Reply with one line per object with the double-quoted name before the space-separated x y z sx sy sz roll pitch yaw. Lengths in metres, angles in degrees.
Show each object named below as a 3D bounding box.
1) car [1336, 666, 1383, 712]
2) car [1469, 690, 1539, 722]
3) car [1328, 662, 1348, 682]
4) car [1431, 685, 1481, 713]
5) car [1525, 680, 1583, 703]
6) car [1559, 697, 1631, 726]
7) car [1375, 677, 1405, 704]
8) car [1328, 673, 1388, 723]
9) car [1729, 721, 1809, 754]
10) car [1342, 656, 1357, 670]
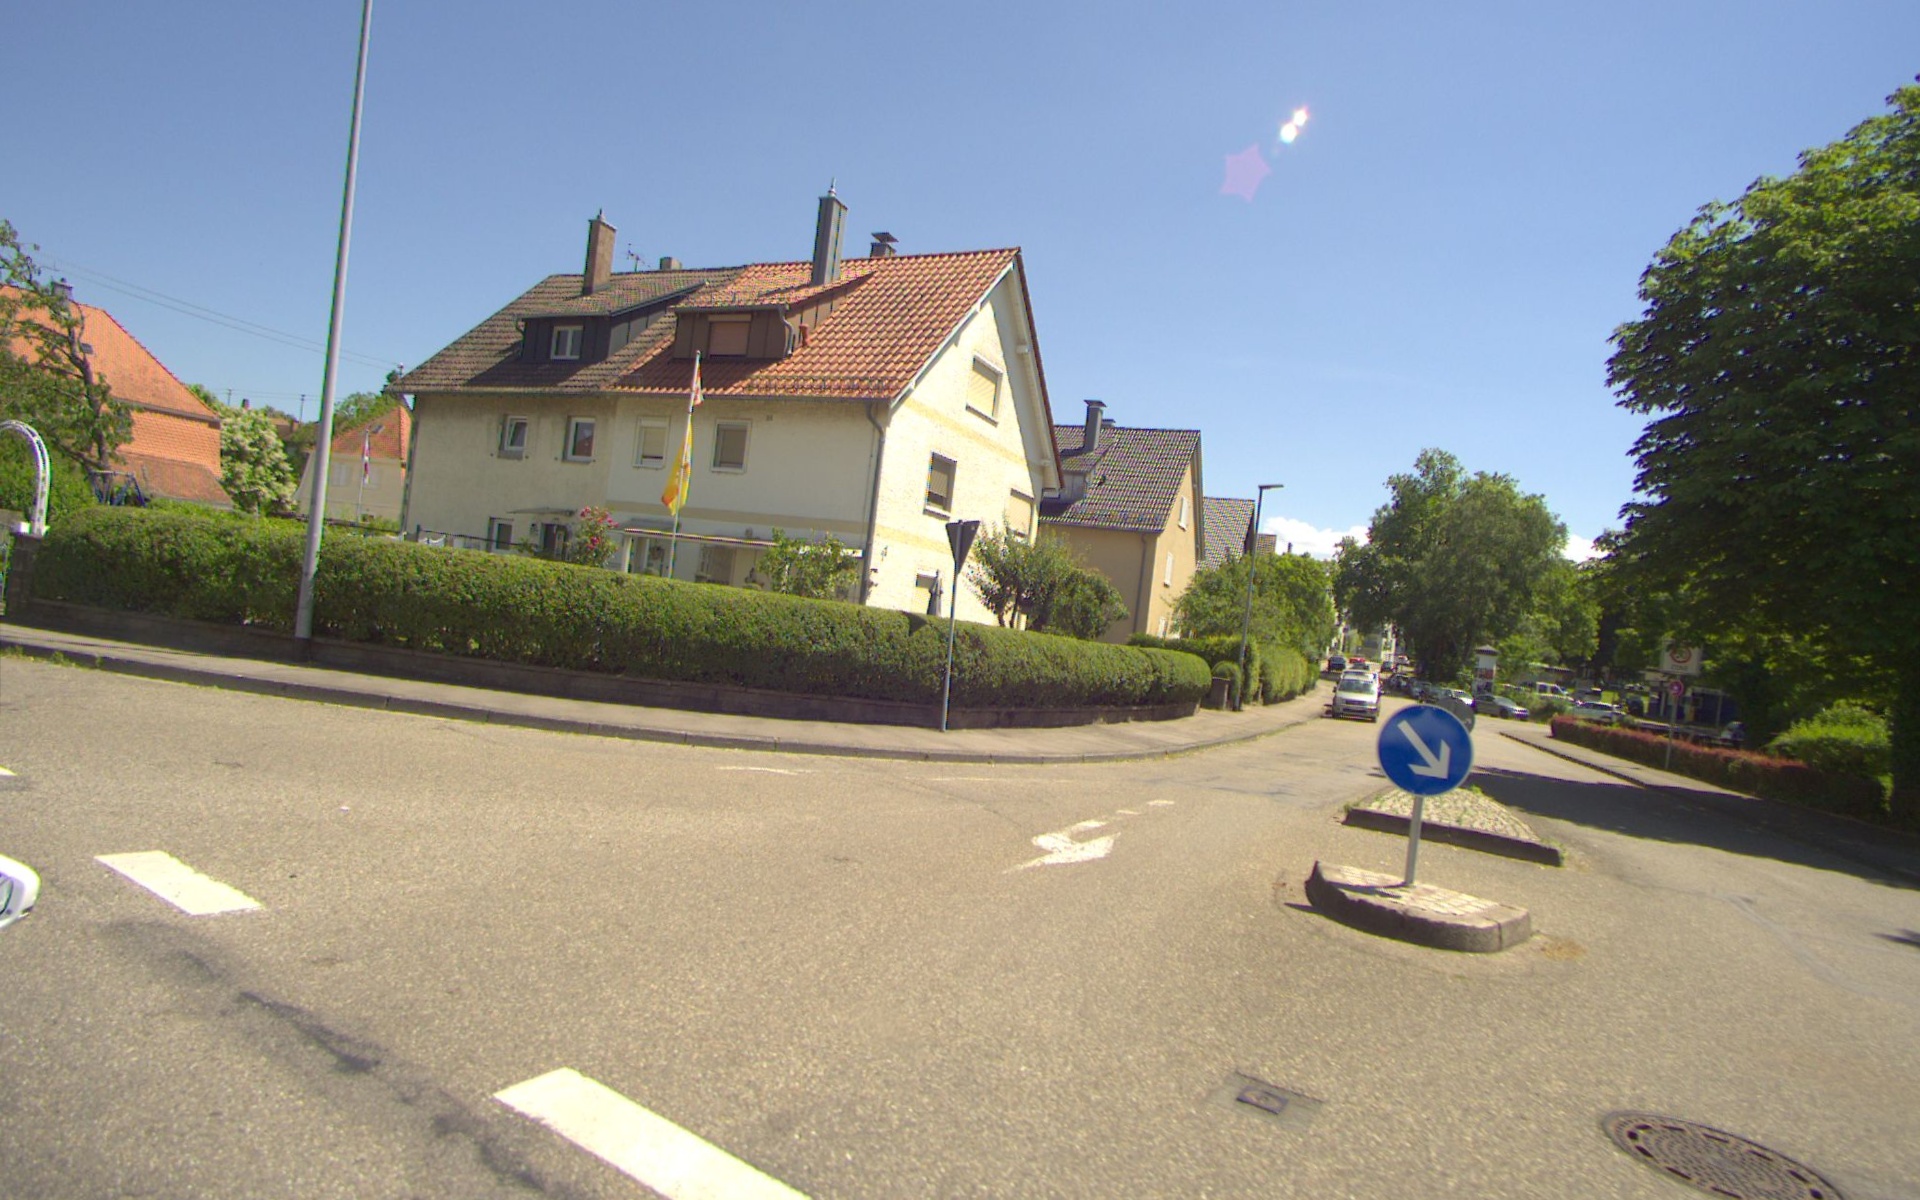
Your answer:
"car" 18.918 4.198 47.541 1.679 1.846 3.851 7 -1 25
"car" 35.270 6.844 65.332 1.683 1.455 3.841 7 -1 -15
"car" 43.708 8.303 116.312 1.963 2.037 4.001 7 -1 21
"car" 34.494 6.877 70.064 1.677 1.455 3.856 7 -1 6
"car" 50.066 7.727 84.829 3.802 1.455 1.700 5 -1 44
"car" 44.240 7.766 70.180 1.695 1.455 3.814 7 -1 -37
"car" 37.633 7.889 88.129 1.963 2.037 4.002 7 -1 19
"car" 15.344 3.747 38.679 1.680 1.651 3.850 5 -2 27
"car" 51.336 8.706 63.874 3.797 1.455 1.703 6 -1 40
"car" 60.969 9.880 157.318 1.963 1.926 4.001 7 -1 22
